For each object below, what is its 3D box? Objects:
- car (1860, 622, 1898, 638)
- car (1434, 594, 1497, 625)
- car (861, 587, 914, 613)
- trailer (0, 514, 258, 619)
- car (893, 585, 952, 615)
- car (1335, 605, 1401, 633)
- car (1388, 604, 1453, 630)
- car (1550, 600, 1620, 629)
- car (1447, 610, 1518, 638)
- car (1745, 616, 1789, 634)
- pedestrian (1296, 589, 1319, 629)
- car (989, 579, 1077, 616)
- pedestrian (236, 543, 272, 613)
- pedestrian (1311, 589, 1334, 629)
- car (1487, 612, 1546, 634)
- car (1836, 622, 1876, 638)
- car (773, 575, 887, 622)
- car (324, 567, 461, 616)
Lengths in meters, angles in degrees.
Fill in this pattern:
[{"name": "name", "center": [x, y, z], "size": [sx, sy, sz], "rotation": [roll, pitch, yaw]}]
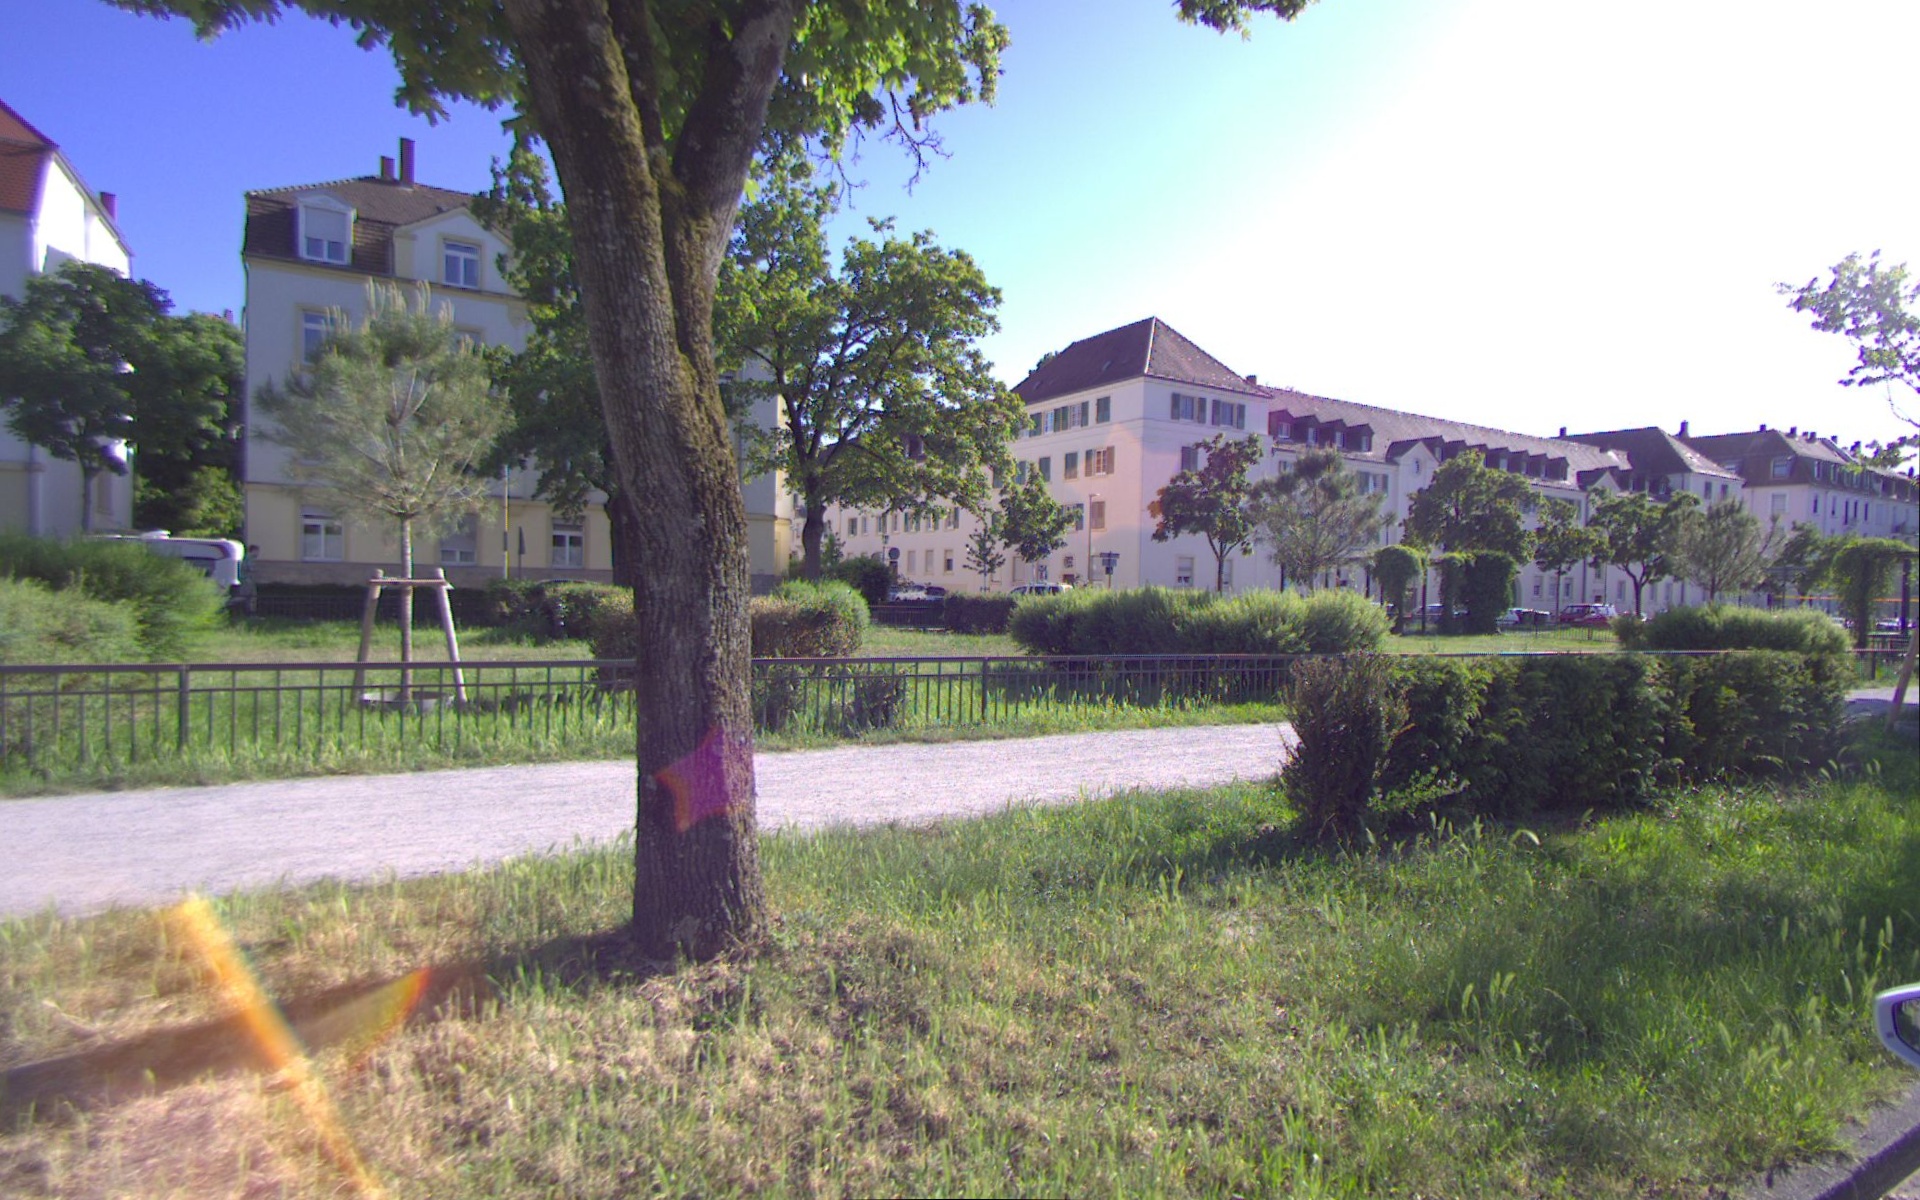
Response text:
[{"name": "car", "center": [95.740, 3.148, 104.638], "size": [3.954, 1.530, 1.785], "rotation": [1, 1, -31]}, {"name": "car", "center": [33.417, 0.657, 66.365], "size": [3.953, 1.935, 1.785], "rotation": [1, 1, -30]}, {"name": "car", "center": [-4.658, 0.005, 63.739], "size": [1.779, 1.530, 3.967], "rotation": [1, 1, -30]}, {"name": "trailer", "center": [-24.997, -0.946, 30.562], "size": [5.736, 2.909, 2.331], "rotation": [1, 1, -31]}, {"name": "car", "center": [-2.259, -0.008, 59.018], "size": [1.779, 1.587, 3.966], "rotation": [1, 1, -31]}, {"name": "car", "center": [24.910, 1.158, 61.305], "size": [3.956, 1.633, 1.784], "rotation": [1, 1, -32]}, {"name": "car", "center": [29.210, 1.066, 63.736], "size": [3.953, 1.530, 1.785], "rotation": [1, 1, -30]}, {"name": "car", "center": [39.802, 0.924, 63.977], "size": [4.647, 1.733, 1.785], "rotation": [1, 1, -30]}, {"name": "car", "center": [30.132, 1.387, 57.910], "size": [3.953, 1.530, 1.785], "rotation": [1, 1, -30]}, {"name": "car", "center": [73.552, 2.239, 91.525], "size": [3.953, 1.530, 1.785], "rotation": [1, 1, -30]}, {"name": "pedestrian", "center": [15.188, 0.379, 43.891], "size": [0.642, 1.721, 0.645], "rotation": [1, 0, -30]}, {"name": "car", "center": [3.579, -0.117, 49.472], "size": [3.929, 1.674, 1.796], "rotation": [2, 1, 31]}, {"name": "pedestrian", "center": [-17.484, -0.534, 24.897], "size": [0.642, 1.683, 0.645], "rotation": [1, 0, -30]}, {"name": "pedestrian", "center": [15.599, 0.394, 43.215], "size": [0.642, 1.721, 0.645], "rotation": [1, 0, -30]}, {"name": "car", "center": [38.362, 1.602, 69.243], "size": [3.953, 1.403, 1.785], "rotation": [1, 1, -30]}, {"name": "car", "center": [90.818, 3.024, 101.809], "size": [4.095, 1.530, 1.785], "rotation": [1, 1, -30]}, {"name": "car", "center": [-5.462, -0.050, 42.322], "size": [4.407, 1.840, 1.784], "rotation": [1, 1, -32]}, {"name": "car", "center": [-19.247, -0.274, 34.202], "size": [3.953, 1.530, 1.785], "rotation": [1, 1, -30]}]
